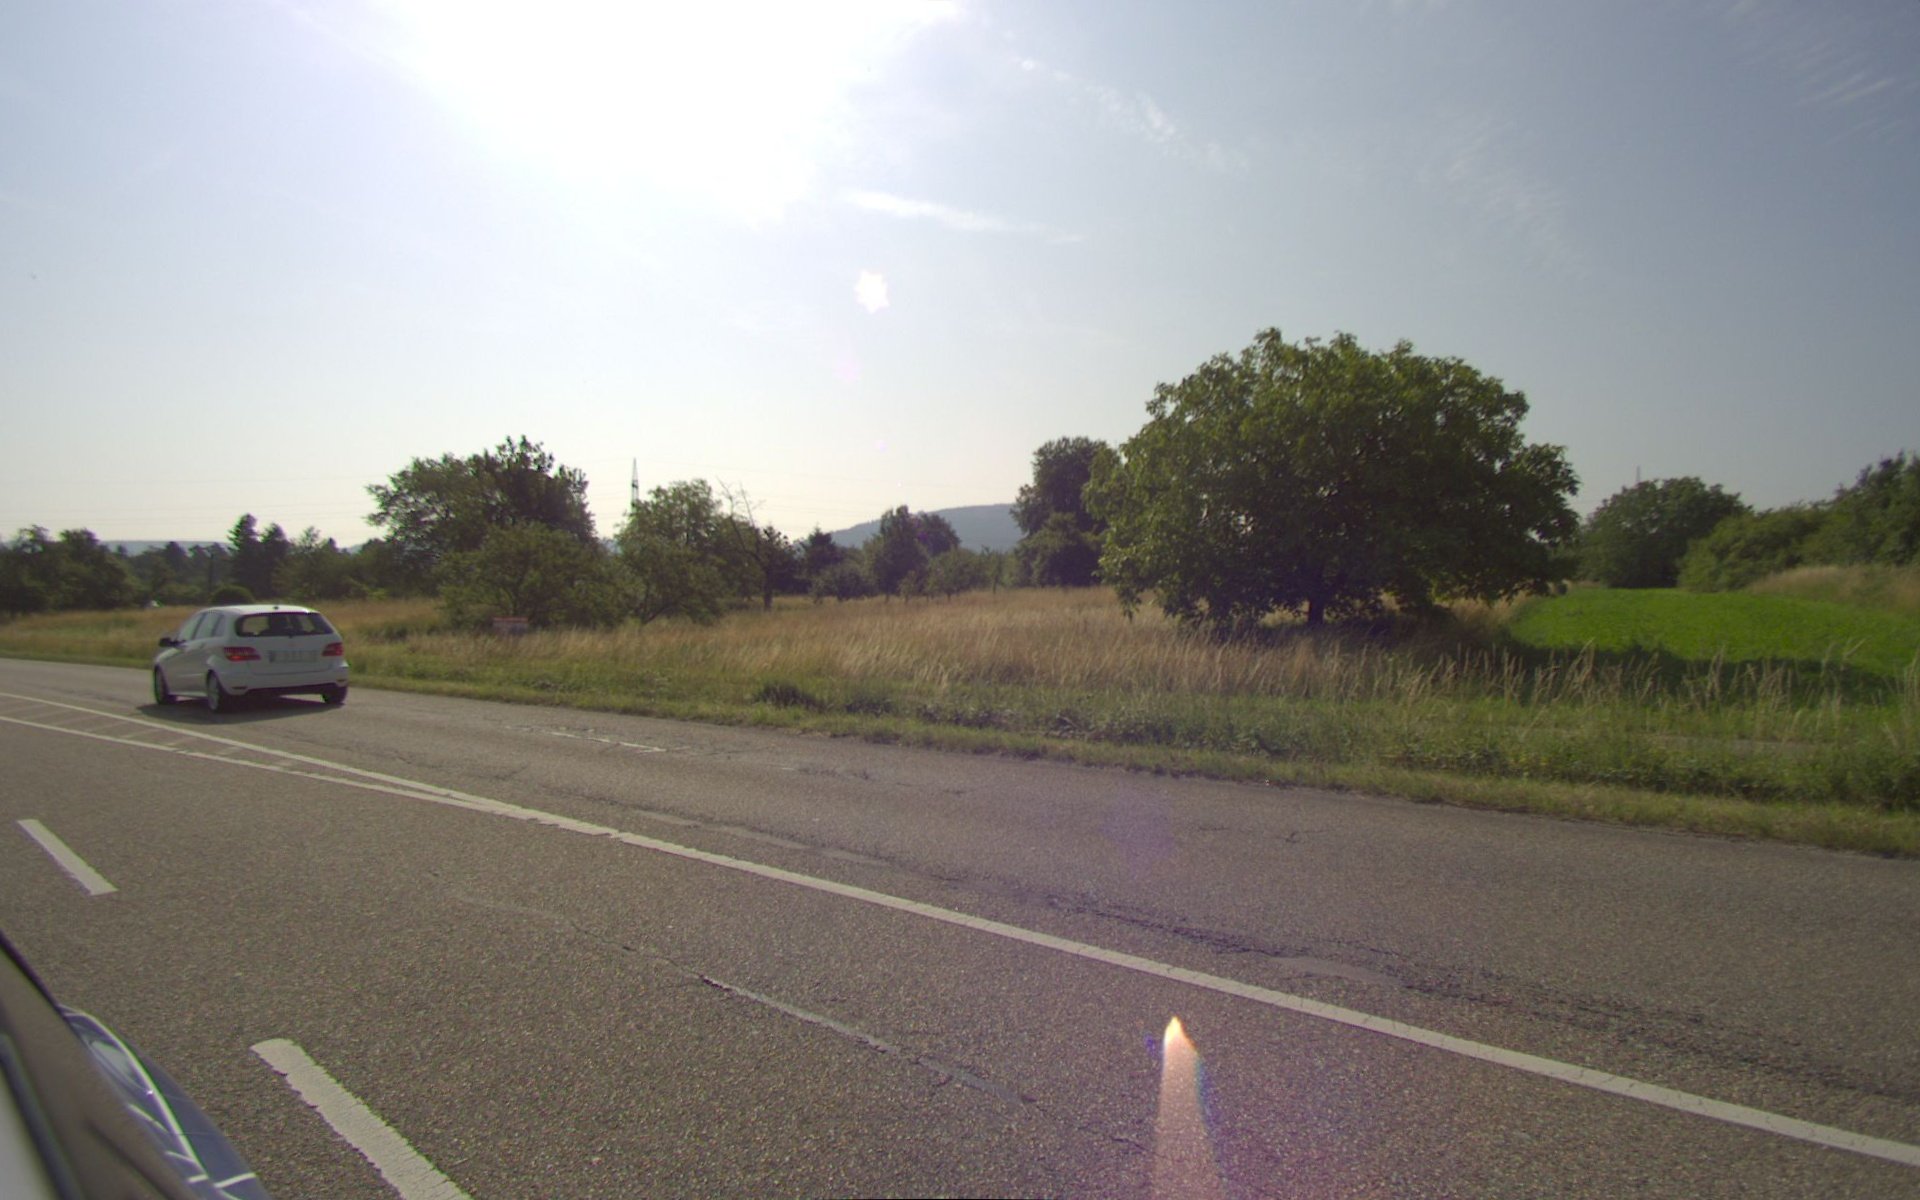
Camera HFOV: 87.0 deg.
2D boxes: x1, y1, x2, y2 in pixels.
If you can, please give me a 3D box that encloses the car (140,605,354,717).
[{"bbox_3d":[-11.649,0.916,16.445,4.220,1.597,1.794,-1,-1,39],"label":"car"}]
